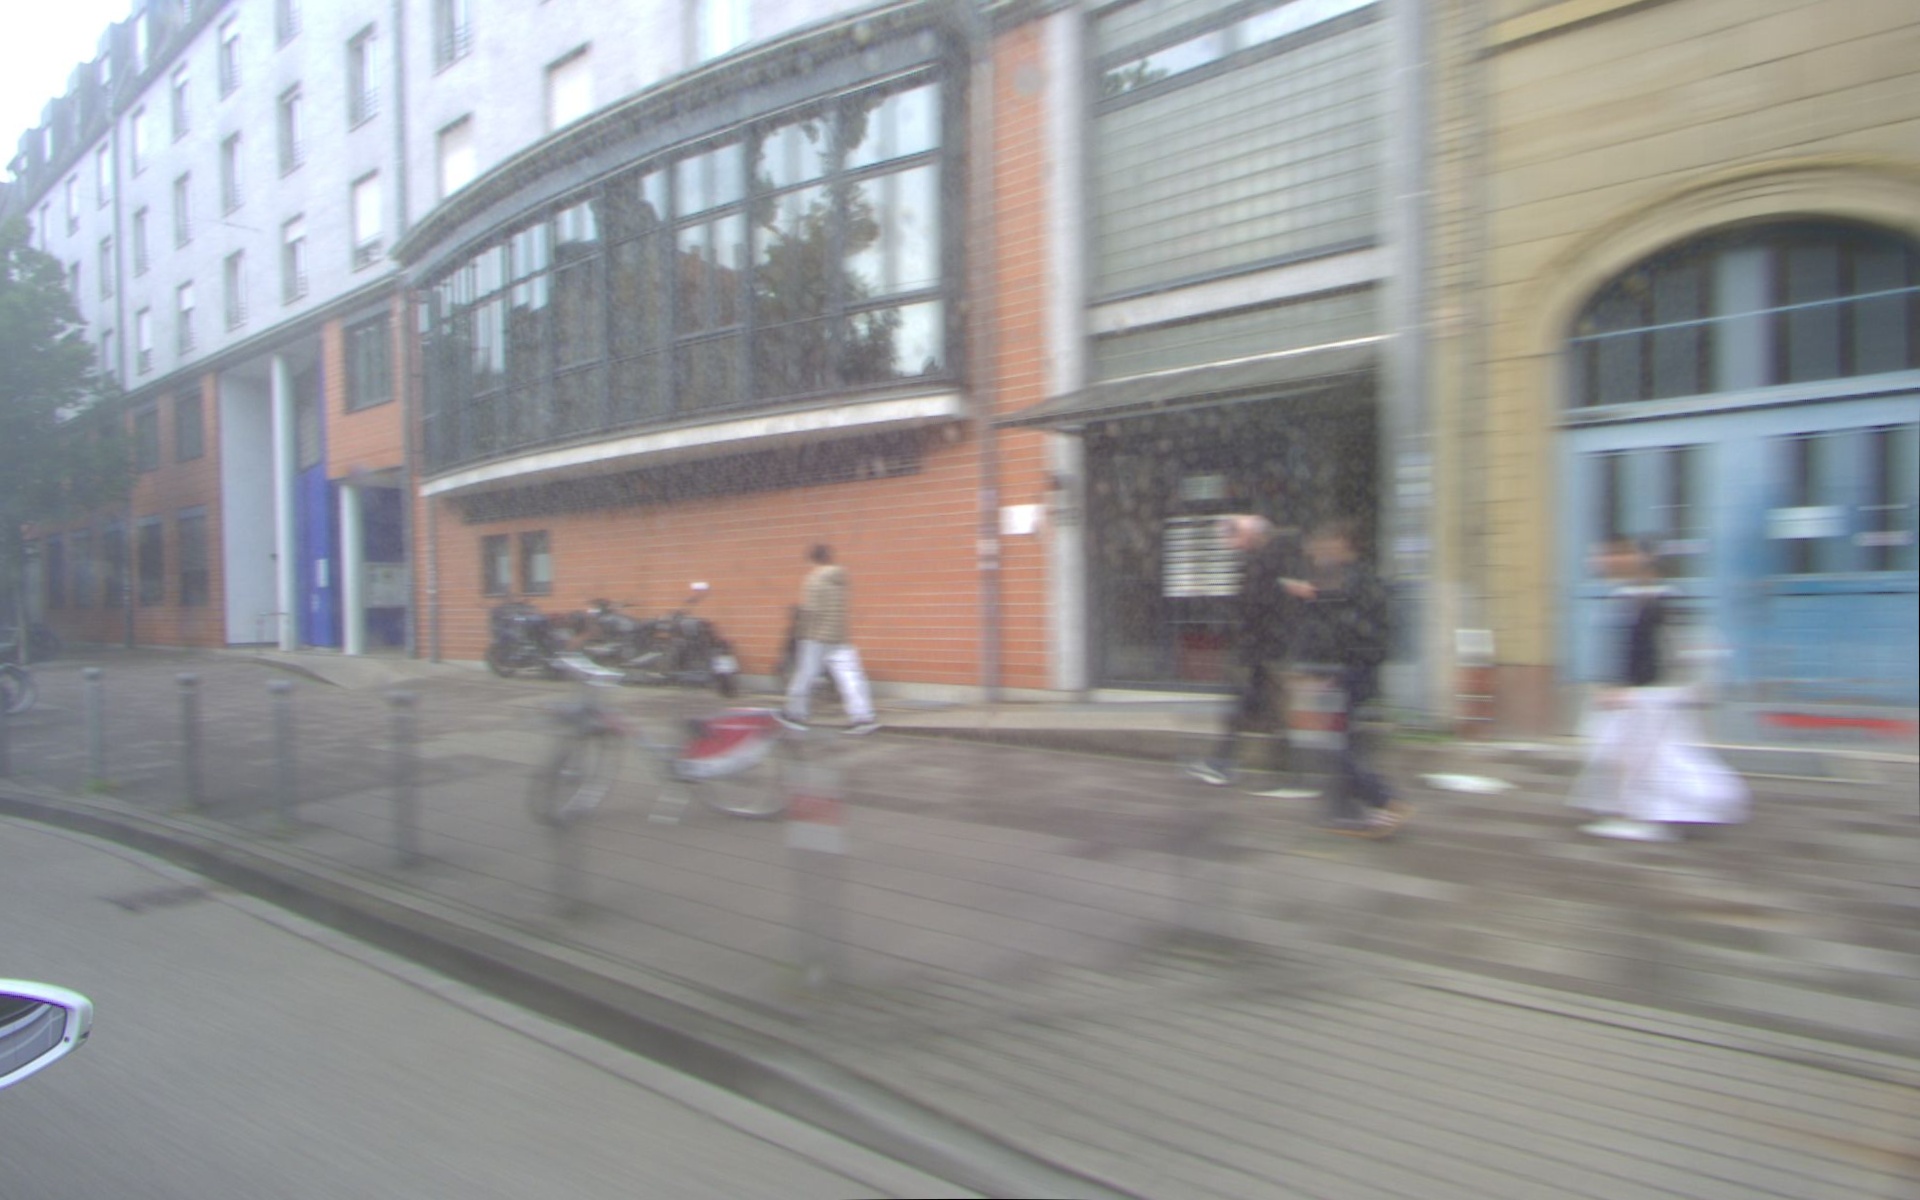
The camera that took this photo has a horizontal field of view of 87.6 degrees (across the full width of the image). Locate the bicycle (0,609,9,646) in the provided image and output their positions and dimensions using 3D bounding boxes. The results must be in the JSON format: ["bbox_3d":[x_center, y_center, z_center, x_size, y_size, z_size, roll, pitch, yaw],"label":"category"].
[{"bbox_3d":[-29.079,0.825,29.289,0.558,1.106,1.747,-1,-1,36],"label":"bicycle"}]

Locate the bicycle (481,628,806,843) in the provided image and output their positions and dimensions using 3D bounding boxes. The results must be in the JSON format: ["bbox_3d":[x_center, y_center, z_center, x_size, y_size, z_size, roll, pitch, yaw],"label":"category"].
[{"bbox_3d":[-1.834,0.772,6.030,1.703,1.119,0.729,-2,2,-5],"label":"bicycle"}]

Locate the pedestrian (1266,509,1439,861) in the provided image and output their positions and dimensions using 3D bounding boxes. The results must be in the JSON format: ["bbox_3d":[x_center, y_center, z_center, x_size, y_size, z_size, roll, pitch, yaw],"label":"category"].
[{"bbox_3d":[2.036,0.411,5.184,0.707,1.685,0.516,-1,2,34],"label":"pedestrian"}]

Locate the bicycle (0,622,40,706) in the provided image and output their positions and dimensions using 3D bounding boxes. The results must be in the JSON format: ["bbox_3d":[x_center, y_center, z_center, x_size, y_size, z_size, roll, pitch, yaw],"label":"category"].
[{"bbox_3d":[-13.187,0.875,12.842,0.603,1.091,1.923,-1,1,33],"label":"bicycle"}]

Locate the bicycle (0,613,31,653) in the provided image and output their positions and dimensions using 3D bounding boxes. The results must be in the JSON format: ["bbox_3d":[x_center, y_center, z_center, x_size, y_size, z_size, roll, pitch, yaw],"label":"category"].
[{"bbox_3d":[-26.821,0.917,27.555,0.558,1.106,1.747,-1,-1,36],"label":"bicycle"}]

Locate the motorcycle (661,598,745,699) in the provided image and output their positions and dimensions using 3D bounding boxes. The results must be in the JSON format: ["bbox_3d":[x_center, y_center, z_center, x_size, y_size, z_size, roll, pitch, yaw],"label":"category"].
[{"bbox_3d":[-3.283,0.567,12.672,0.594,1.159,1.873,-2,1,-28],"label":"motorcycle"}]

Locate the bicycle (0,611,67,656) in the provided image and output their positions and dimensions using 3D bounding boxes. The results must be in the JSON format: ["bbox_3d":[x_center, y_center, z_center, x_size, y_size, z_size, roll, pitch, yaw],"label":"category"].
[{"bbox_3d":[-23.972,0.859,25.393,0.536,1.106,1.889,-1,-1,36],"label":"bicycle"}]

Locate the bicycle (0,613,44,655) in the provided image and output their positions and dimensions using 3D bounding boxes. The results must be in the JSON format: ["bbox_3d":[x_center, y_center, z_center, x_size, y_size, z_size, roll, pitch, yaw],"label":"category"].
[{"bbox_3d":[-25.715,0.903,26.746,0.558,1.106,1.747,-1,-1,36],"label":"bicycle"}]

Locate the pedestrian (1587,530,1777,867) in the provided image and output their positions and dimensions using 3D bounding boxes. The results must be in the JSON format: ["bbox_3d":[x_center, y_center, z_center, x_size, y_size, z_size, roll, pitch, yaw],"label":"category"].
[{"bbox_3d":[3.526,0.451,4.936,0.707,1.530,0.516,-1,2,34],"label":"pedestrian"}]

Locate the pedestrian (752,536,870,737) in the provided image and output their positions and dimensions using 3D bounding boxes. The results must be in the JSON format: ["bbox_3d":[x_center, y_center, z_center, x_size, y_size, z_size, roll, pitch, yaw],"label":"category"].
[{"bbox_3d":[-1.387,0.316,9.354,0.800,1.778,0.627,0,4,34],"label":"pedestrian"}]

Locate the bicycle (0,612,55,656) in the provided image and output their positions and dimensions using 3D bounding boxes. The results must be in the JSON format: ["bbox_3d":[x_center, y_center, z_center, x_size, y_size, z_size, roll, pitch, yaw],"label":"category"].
[{"bbox_3d":[-24.642,0.881,25.830,0.536,1.106,1.830,-1,-1,36],"label":"bicycle"}]

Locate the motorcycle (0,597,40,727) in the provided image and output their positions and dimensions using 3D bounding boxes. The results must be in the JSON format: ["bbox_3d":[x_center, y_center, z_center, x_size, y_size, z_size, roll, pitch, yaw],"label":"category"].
[{"bbox_3d":[-11.510,0.731,10.827,0.760,1.449,2.128,-1,1,33],"label":"motorcycle"}]

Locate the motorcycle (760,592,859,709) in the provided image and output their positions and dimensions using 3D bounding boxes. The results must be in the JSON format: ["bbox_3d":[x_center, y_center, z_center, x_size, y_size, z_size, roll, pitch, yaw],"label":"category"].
[{"bbox_3d":[-1.769,0.539,11.609,0.594,1.210,1.557,-2,3,-30],"label":"motorcycle"}]

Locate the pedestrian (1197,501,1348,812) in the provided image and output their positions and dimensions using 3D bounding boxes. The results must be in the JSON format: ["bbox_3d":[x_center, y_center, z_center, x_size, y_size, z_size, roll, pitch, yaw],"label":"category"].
[{"bbox_3d":[1.982,0.331,6.323,0.707,1.823,0.665,-1,2,34],"label":"pedestrian"}]

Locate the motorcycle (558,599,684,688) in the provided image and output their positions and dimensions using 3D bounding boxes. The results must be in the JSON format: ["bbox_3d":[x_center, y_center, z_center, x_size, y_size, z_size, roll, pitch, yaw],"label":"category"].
[{"bbox_3d":[-4.781,0.577,14.041,2.044,1.159,0.599,0,2,37],"label":"motorcycle"}]

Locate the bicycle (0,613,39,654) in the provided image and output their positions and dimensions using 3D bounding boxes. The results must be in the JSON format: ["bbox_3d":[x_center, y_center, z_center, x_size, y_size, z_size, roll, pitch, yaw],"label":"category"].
[{"bbox_3d":[-26.311,0.920,27.240,0.558,1.106,1.747,-1,-1,36],"label":"bicycle"}]

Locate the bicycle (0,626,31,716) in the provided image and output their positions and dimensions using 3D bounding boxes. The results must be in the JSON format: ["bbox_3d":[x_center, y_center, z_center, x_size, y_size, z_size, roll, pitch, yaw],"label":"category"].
[{"bbox_3d":[-12.271,0.892,11.667,0.603,1.076,2.003,-1,1,33],"label":"bicycle"}]

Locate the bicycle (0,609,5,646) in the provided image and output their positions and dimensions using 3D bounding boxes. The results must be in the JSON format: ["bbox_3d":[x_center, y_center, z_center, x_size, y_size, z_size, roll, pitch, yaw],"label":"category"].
[{"bbox_3d":[-29.731,0.849,29.864,0.558,1.106,1.747,-1,-1,36],"label":"bicycle"}]

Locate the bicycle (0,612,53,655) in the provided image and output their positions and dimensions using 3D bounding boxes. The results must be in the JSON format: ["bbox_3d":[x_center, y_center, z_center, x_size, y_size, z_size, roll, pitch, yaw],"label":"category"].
[{"bbox_3d":[-25.199,0.897,26.398,0.558,1.106,1.830,-1,-1,36],"label":"bicycle"}]

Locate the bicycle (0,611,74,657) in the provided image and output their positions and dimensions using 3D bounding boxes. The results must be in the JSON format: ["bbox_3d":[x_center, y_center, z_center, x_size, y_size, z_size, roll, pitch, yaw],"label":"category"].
[{"bbox_3d":[-23.492,0.842,25.037,0.569,1.106,1.926,-1,-1,36],"label":"bicycle"}]

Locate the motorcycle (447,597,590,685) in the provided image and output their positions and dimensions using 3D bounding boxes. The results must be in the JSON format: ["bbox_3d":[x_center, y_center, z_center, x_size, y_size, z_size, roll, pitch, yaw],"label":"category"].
[{"bbox_3d":[-6.774,0.585,15.322,2.180,1.219,1.024,0,2,37],"label":"motorcycle"}]
